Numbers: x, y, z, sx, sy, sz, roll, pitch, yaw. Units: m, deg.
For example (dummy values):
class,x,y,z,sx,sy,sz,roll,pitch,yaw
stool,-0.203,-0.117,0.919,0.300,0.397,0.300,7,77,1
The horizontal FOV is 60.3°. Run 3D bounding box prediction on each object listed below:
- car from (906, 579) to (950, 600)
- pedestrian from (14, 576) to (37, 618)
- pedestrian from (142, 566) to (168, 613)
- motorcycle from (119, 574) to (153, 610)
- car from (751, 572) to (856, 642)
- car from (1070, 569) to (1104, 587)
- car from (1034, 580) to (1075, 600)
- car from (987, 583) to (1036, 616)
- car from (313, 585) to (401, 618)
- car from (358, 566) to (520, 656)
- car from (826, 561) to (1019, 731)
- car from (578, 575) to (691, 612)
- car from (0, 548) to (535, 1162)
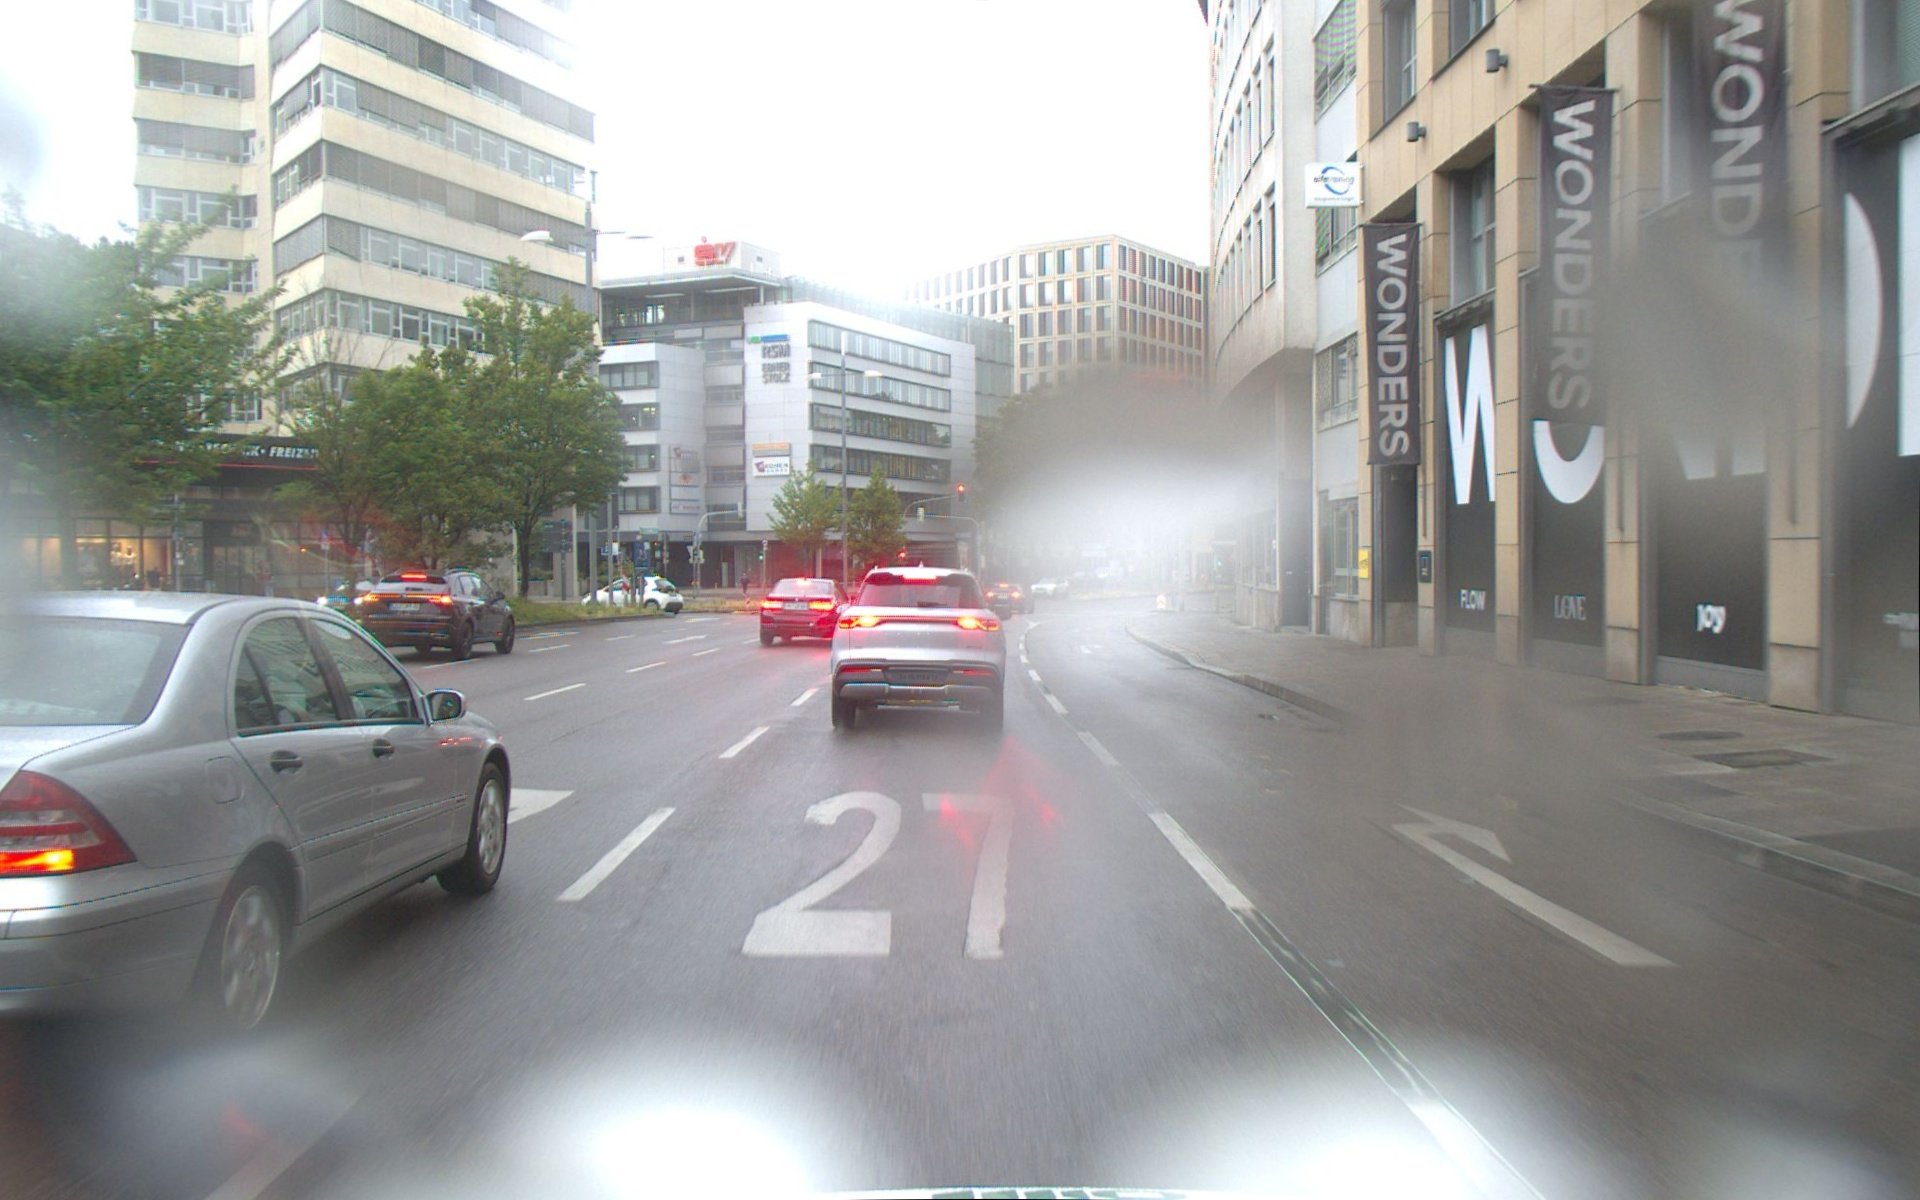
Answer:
class,x,y,z,sx,sy,sz,roll,pitch,yaw
car,-2.385,-0.784,123.653,1.550,1.565,3.995,1,1,27
pedestrian,-34.139,-0.127,60.407,0.661,1.530,0.431,0,0,-39
pedestrian,-30.353,-0.395,62.358,0.746,1.743,0.585,0,0,-39
motorcycle,-32.337,-0.319,64.887,0.700,1.356,1.792,0,1,-44
car,-3.579,0.168,38.588,1.833,1.505,4.879,0,0,2
car,12.497,-2.177,162.541,1.822,1.766,3.993,1,1,29
car,7.323,-0.774,127.831,1.551,1.565,3.993,1,1,29
car,2.622,-0.065,83.023,1.773,1.606,4.004,0,1,12
car,-20.944,0.027,57.612,1.547,1.109,4.001,0,1,1
car,-9.098,0.181,29.215,1.738,1.482,3.998,0,0,-2
car,-0.399,0.434,18.144,1.862,1.649,3.999,1,0,-1
car,-12.405,-0.276,63.069,3.902,1.365,1.660,0,1,15
car,-2.975,0.597,6.227,1.638,1.505,4.360,1,0,-1
